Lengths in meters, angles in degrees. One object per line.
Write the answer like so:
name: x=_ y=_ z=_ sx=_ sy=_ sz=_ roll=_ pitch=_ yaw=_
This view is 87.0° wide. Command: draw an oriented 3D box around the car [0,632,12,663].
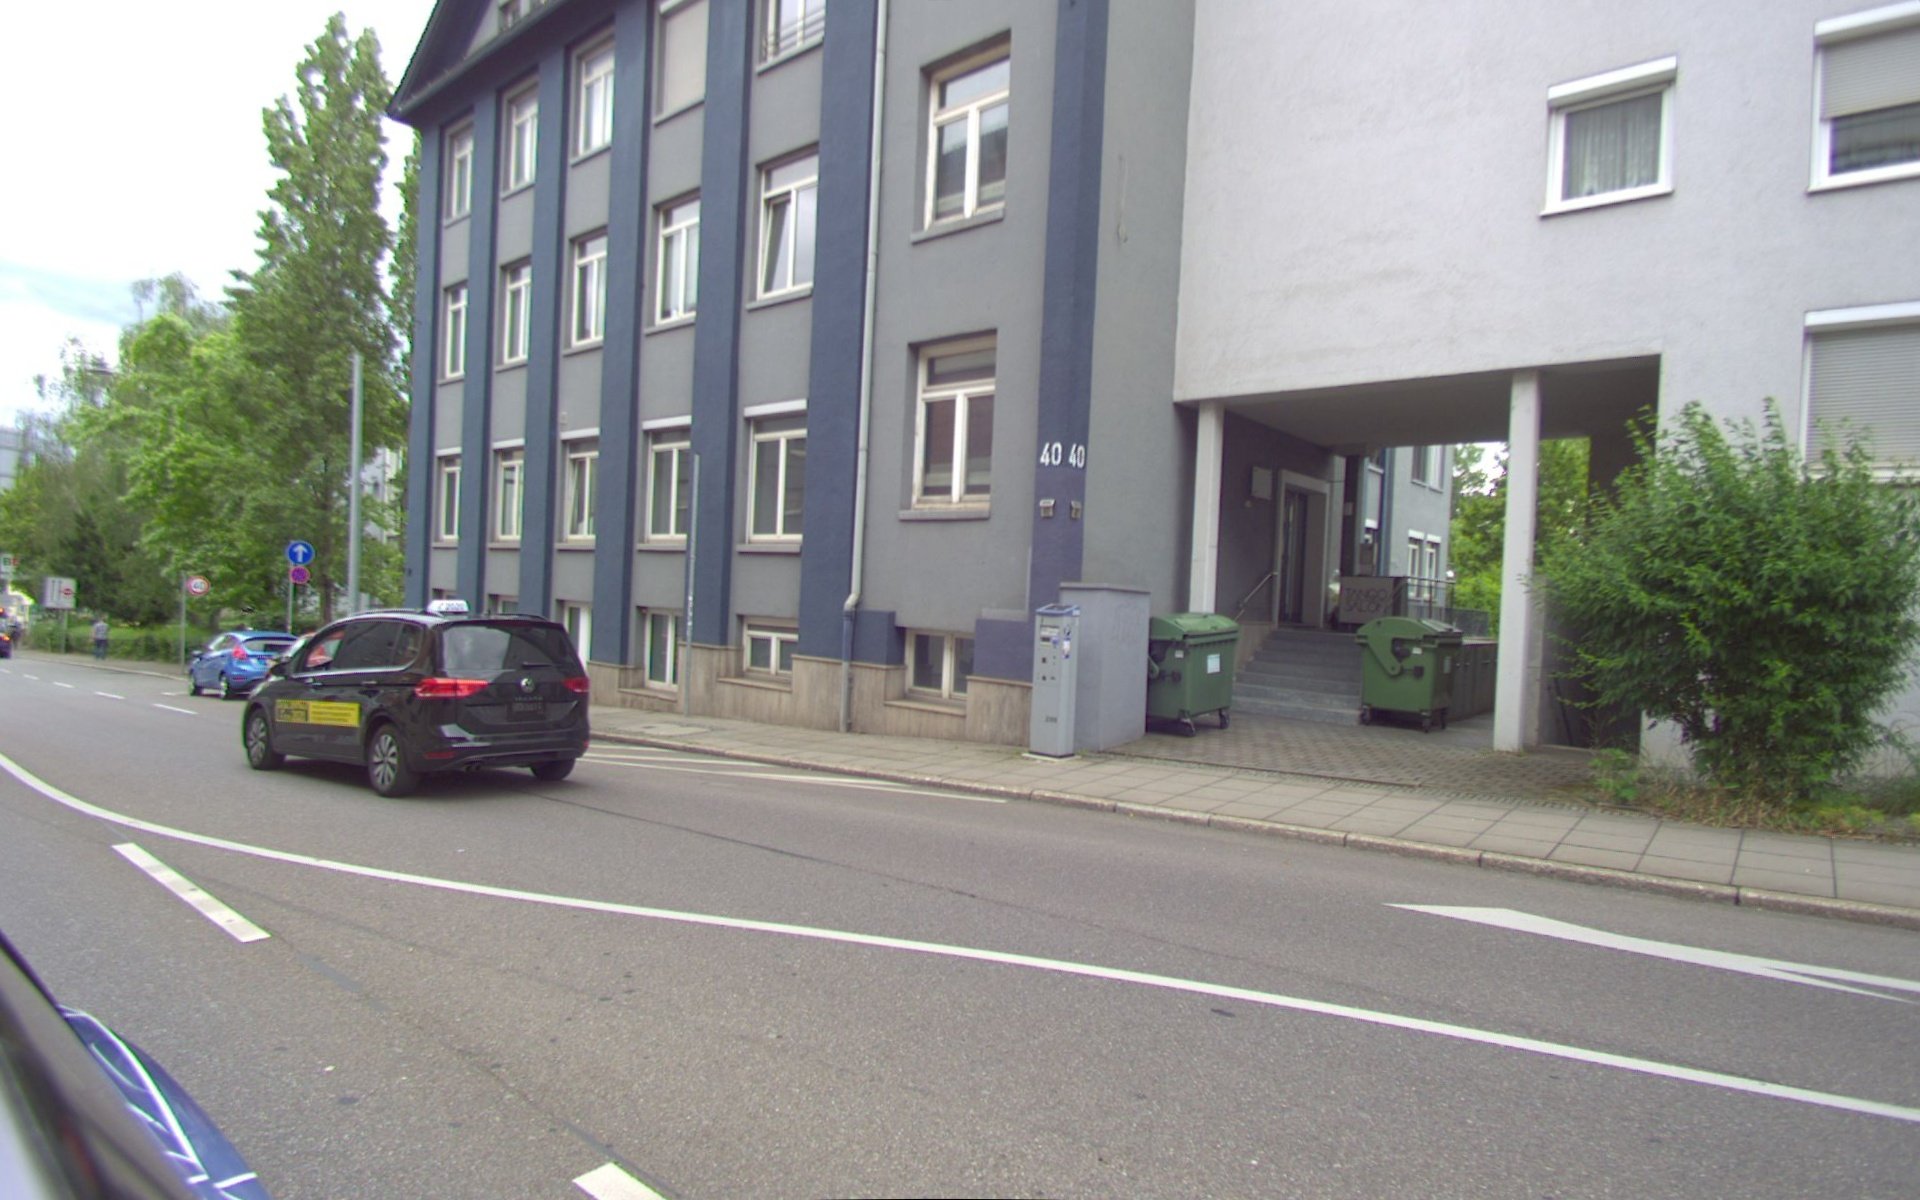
car: x=-48.271 y=2.338 z=50.026 sx=3.726 sy=1.495 sz=1.701 roll=-2 pitch=-4 yaw=42

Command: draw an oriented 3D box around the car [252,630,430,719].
car: x=-11.651 y=1.348 z=18.962 sx=3.868 sy=1.485 sz=1.796 roll=-2 pitch=-5 yaw=42

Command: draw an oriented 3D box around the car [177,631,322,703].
car: x=-15.842 y=1.446 z=22.519 sx=3.724 sy=1.465 sz=1.702 roll=-1 pitch=-4 yaw=40

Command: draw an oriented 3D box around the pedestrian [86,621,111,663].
pedestrian: x=-38.302 y=1.856 z=44.983 sx=0.776 sy=1.864 sz=0.736 roll=-2 pitch=-2 yaw=42

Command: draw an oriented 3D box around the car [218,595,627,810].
car: x=-5.453 y=0.890 z=10.102 sx=4.296 sy=1.720 sz=1.768 roll=-1 pitch=-4 yaw=35

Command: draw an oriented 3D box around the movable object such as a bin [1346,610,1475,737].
movable object such as a bin: x=5.950 y=0.933 z=13.356 sx=1.190 sy=1.489 sz=1.132 roll=5 pitch=1 yaw=41

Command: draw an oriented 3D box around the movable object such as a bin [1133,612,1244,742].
movable object such as a bin: x=2.819 y=0.900 z=12.428 sx=0.784 sy=1.467 sz=1.251 roll=0 pitch=1 yaw=44
